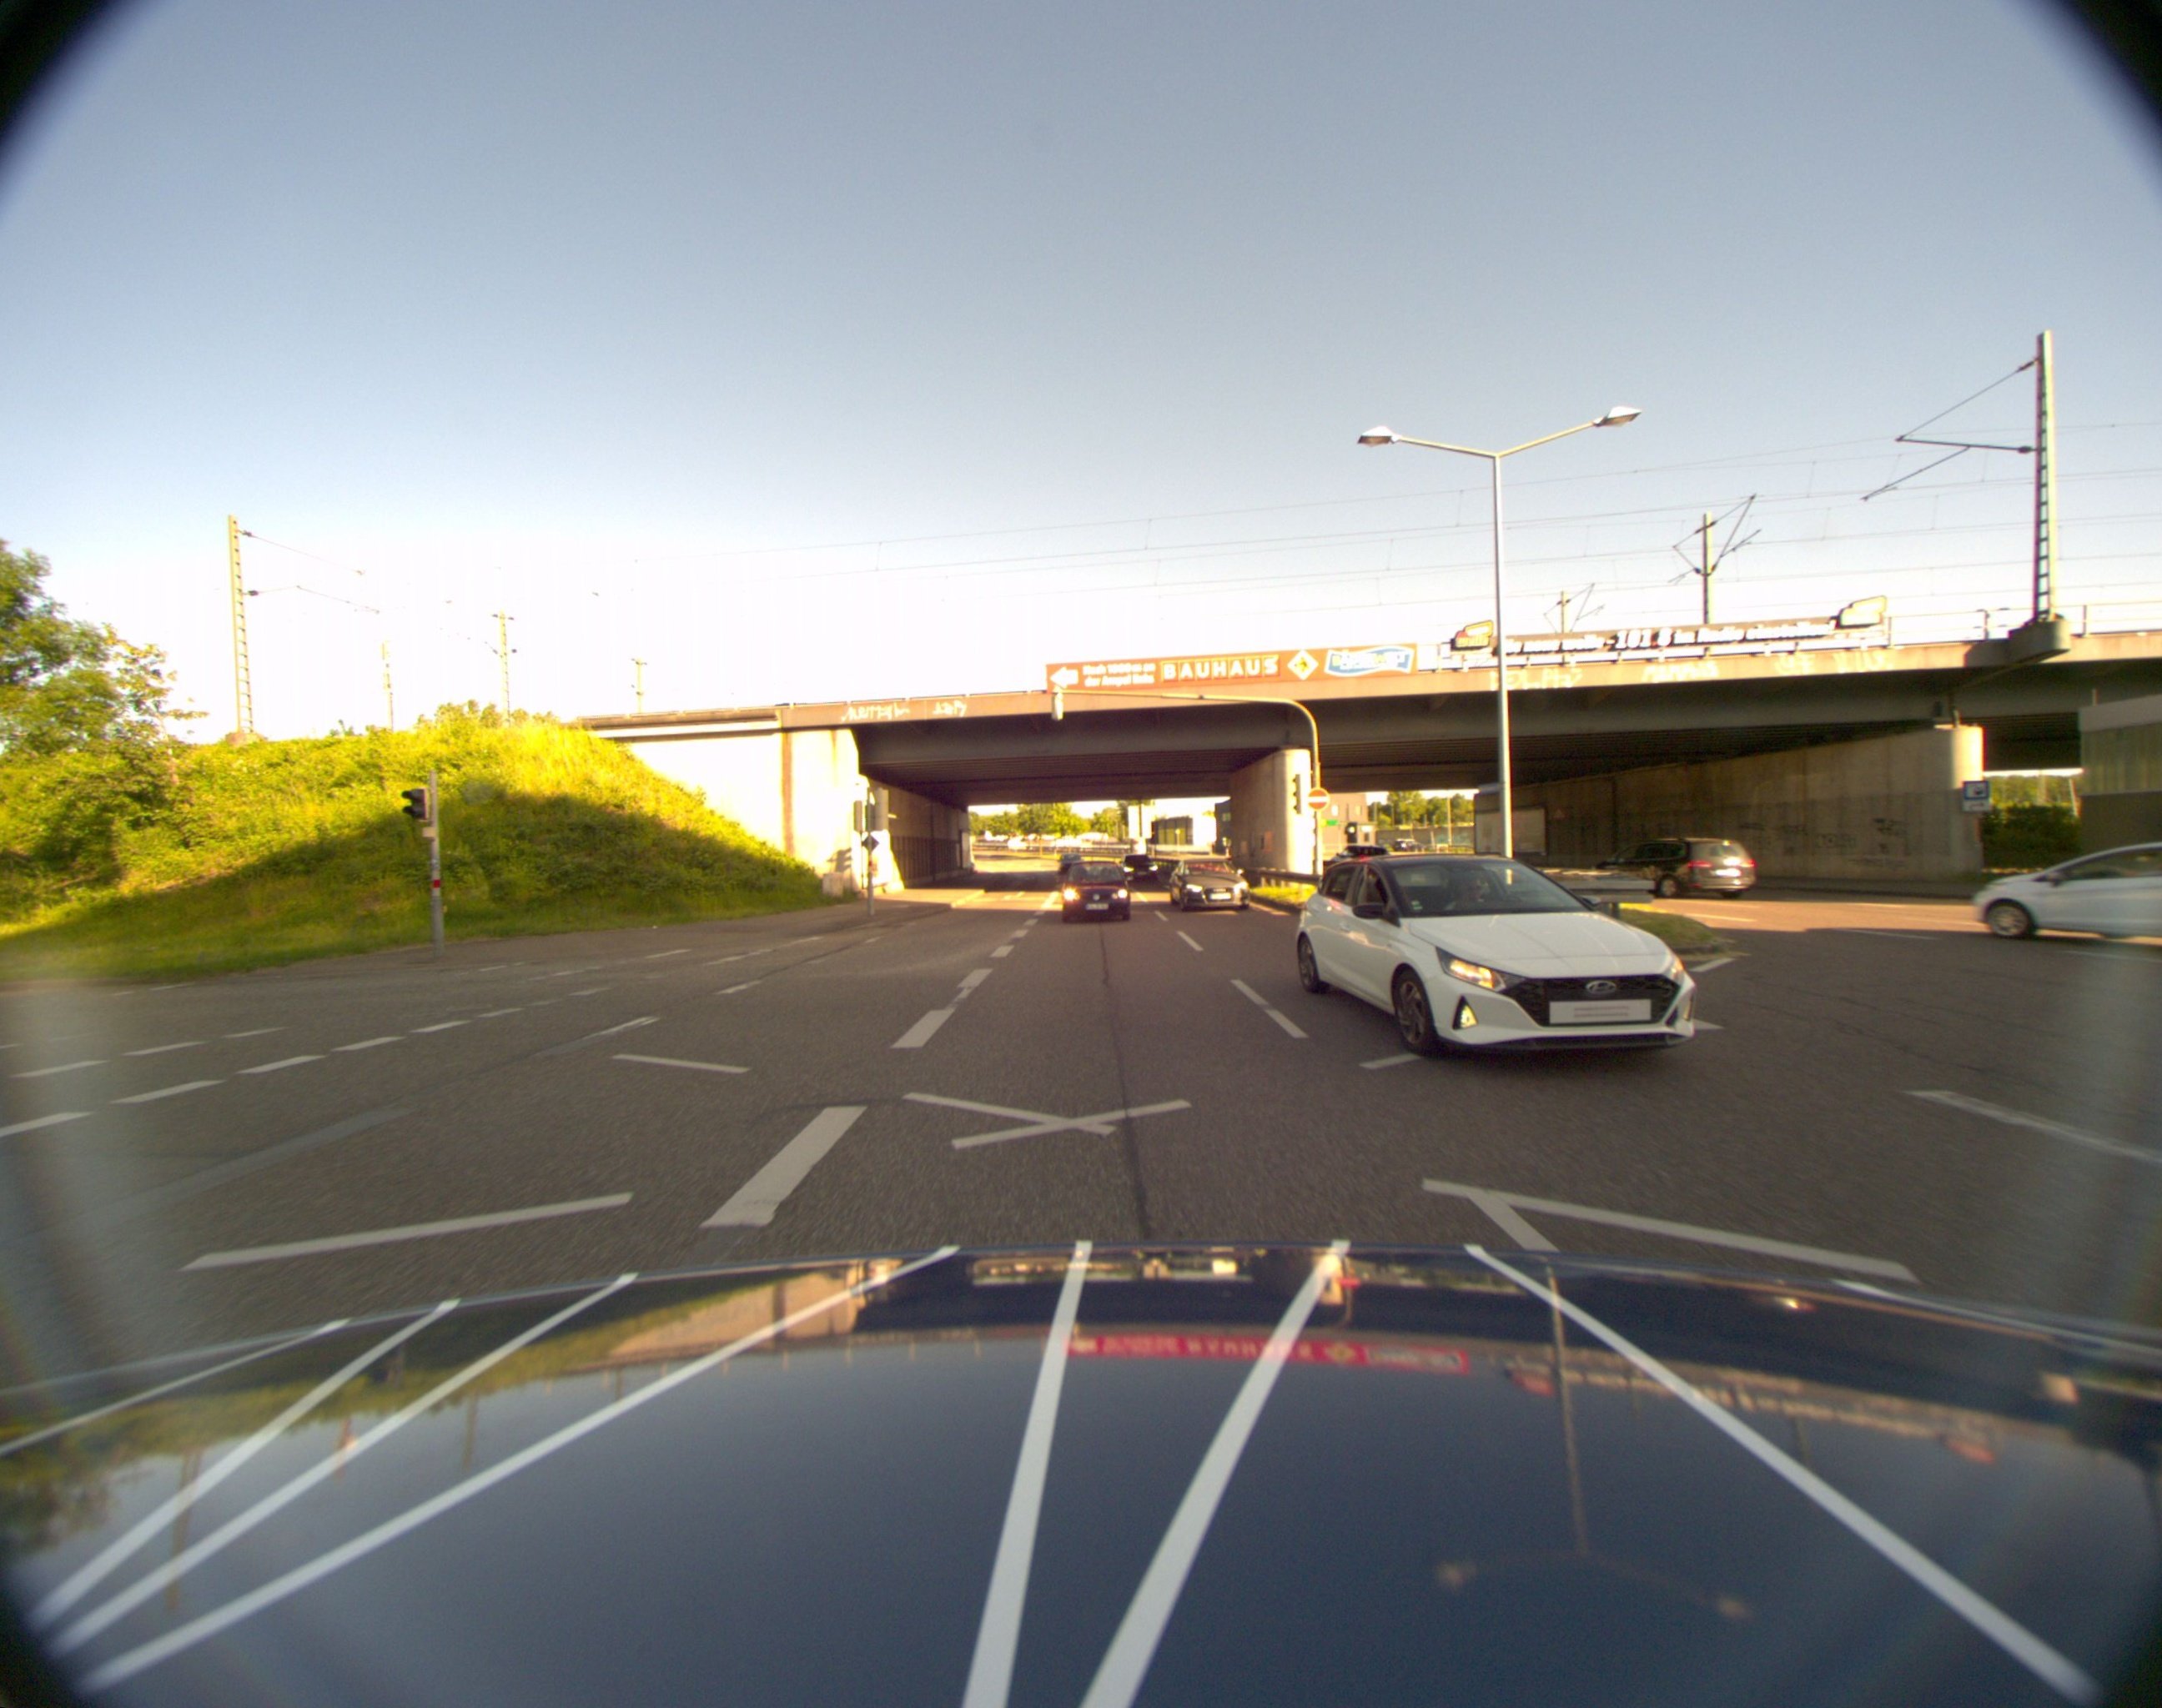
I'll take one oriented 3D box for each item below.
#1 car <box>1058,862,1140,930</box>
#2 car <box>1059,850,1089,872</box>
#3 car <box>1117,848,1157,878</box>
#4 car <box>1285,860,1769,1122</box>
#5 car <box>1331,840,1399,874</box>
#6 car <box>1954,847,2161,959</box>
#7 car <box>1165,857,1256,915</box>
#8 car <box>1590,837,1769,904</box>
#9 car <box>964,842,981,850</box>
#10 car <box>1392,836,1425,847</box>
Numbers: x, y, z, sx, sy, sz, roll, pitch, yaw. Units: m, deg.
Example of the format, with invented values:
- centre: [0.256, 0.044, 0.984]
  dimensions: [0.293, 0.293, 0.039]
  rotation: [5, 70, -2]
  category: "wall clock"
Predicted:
- centre: [0.398, 0.939, 18.681]
  dimensions: [1.737, 1.412, 4.319]
  rotation: [-2, 0, 0]
  category: "car"
- centre: [-0.572, 0.534, 55.664]
  dimensions: [1.849, 1.474, 3.980]
  rotation: [-2, 0, -5]
  category: "car"
- centre: [3.050, 0.468, 41.893]
  dimensions: [1.848, 1.515, 3.982]
  rotation: [-2, 0, 0]
  category: "car"
- centre: [3.158, 0.821, 6.456]
  dimensions: [1.737, 1.471, 3.991]
  rotation: [-2, 0, 0]
  category: "car"
- centre: [14.463, 0.117, 38.980]
  dimensions: [1.829, 1.616, 4.528]
  rotation: [1, 1, 1]
  category: "car"
- centre: [14.421, 0.625, 9.846]
  dimensions: [1.650, 1.396, 3.977]
  rotation: [1, 1, 2]
  category: "car"
- centre: [3.518, 0.819, 21.367]
  dimensions: [1.848, 1.412, 3.982]
  rotation: [-2, 0, 0]
  category: "car"
- centre: [17.316, 0.403, 22.333]
  dimensions: [1.829, 1.728, 4.630]
  rotation: [1, 1, 4]
  category: "car"
- centre: [-21.396, -1.606, 149.773]
  dimensions: [1.626, 1.511, 3.815]
  rotation: [-2, 1, -37]
  category: "car"
- centre: [38.088, -1.434, 88.430]
  dimensions: [4.191, 1.274, 1.825]
  rotation: [0, 1, -40]
  category: "car"
